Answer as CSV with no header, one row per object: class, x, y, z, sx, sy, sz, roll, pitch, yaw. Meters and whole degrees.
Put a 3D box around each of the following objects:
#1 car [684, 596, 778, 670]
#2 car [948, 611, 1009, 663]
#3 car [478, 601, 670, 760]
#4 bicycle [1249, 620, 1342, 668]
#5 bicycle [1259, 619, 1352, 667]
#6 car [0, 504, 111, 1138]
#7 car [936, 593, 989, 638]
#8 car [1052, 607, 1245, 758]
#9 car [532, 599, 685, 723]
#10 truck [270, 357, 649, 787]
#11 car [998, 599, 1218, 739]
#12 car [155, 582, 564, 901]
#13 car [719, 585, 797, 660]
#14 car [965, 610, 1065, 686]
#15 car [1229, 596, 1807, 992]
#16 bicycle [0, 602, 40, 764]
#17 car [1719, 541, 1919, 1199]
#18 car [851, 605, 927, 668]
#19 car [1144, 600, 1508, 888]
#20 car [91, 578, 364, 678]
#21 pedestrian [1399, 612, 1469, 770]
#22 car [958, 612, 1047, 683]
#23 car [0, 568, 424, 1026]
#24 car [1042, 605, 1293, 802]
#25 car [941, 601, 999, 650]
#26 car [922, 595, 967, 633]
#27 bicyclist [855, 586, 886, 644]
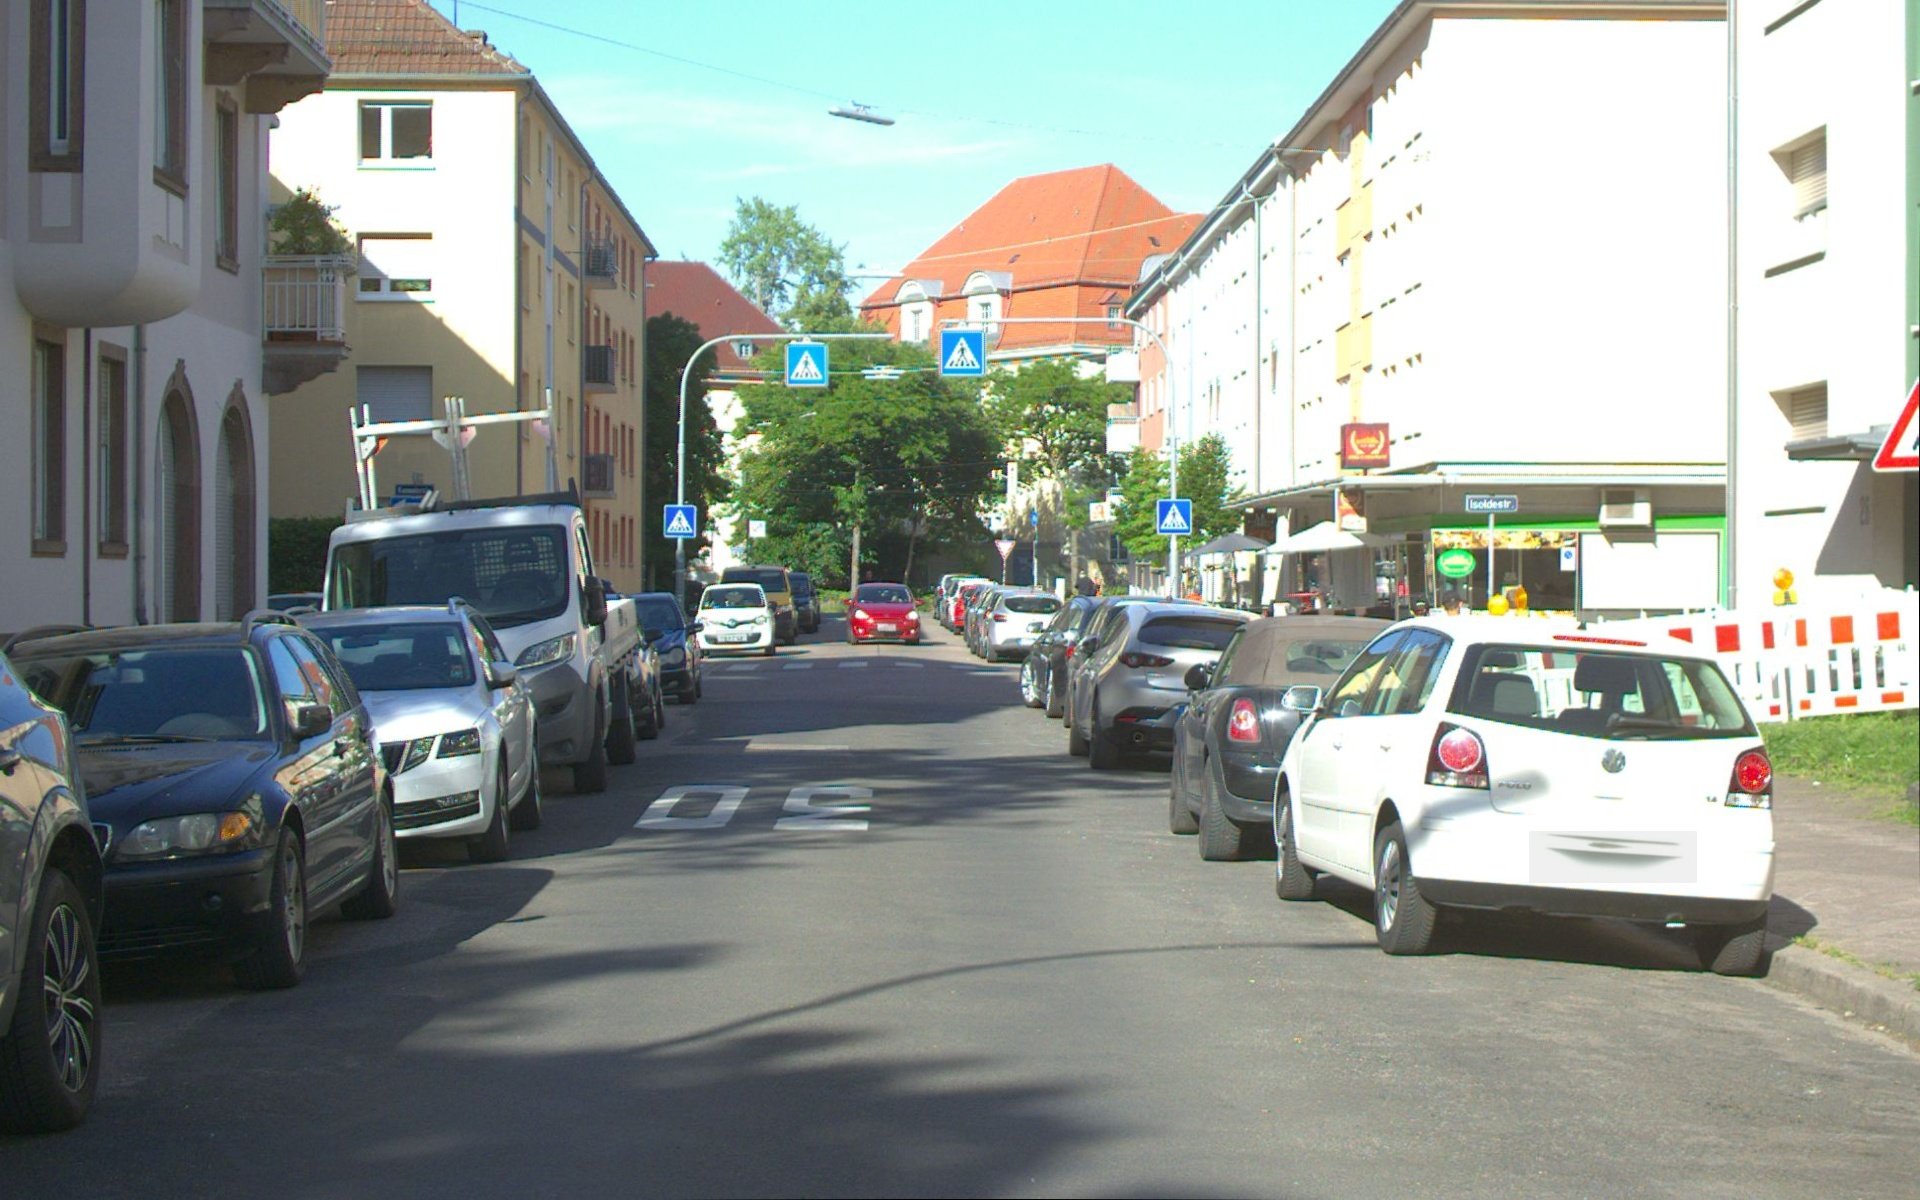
car,-4.854,0.679,73.305,1.791,1.475,4.099,0,1,-1
car,0.528,1.059,100.344,1.637,1.436,3.419,1,0,-2
car,-3.822,0.782,34.581,1.645,1.411,4.081,-3,0,-4
bicycle,7.089,0.933,72.623,1.806,0.964,0.674,1,0,-11
bicycle,7.228,0.904,71.997,1.806,0.964,0.674,1,0,-11
car,-3.427,0.581,7.788,1.878,1.658,4.932,0,0,-1
car,0.069,0.516,115.748,1.637,1.436,3.419,1,0,-2
car,1.935,0.850,36.293,1.645,1.455,3.940,2,-1,-2
car,-4.435,0.764,43.867,1.703,1.411,4.374,-3,0,-4
truck,-3.831,-0.168,27.699,2.259,2.976,7.276,1,-1,-3
car,1.694,0.797,41.053,1.853,1.518,4.778,2,-1,-6
car,-3.465,0.740,20.645,1.792,1.535,4.642,-4,1,-3
car,-4.939,0.544,84.342,1.697,1.773,4.099,1,0,-1
car,1.072,0.940,68.956,1.845,1.436,3.419,1,0,-1
car,2.457,0.807,16.097,1.685,1.458,3.820,7,-1,-4
bicycle,-7.923,0.666,27.408,0.569,1.275,2.341,1,1,-1
car,2.591,0.761,4.578,1.898,1.616,4.602,3,0,-3
car,-1.670,0.854,81.909,1.697,1.436,3.419,1,0,0
car,2.110,0.795,20.701,1.688,1.462,3.583,4,0,-1
car,-11.415,0.439,53.533,3.978,1.474,1.595,1,0,-18
pedestrian,4.343,0.826,31.522,0.575,1.429,0.471,0,1,1
car,0.888,0.999,73.824,1.690,1.436,3.419,1,0,-3
car,-3.489,0.736,14.281,1.792,1.557,4.459,-3,0,-1
car,1.755,0.864,30.373,1.792,1.466,4.339,5,-1,-1
car,0.286,0.780,106.407,1.637,1.436,3.419,1,0,-2
car,-0.614,0.528,134.947,1.637,1.436,3.419,1,0,-2
bicyclist,-2.505,0.419,96.125,0.786,1.616,0.956,0,0,3
